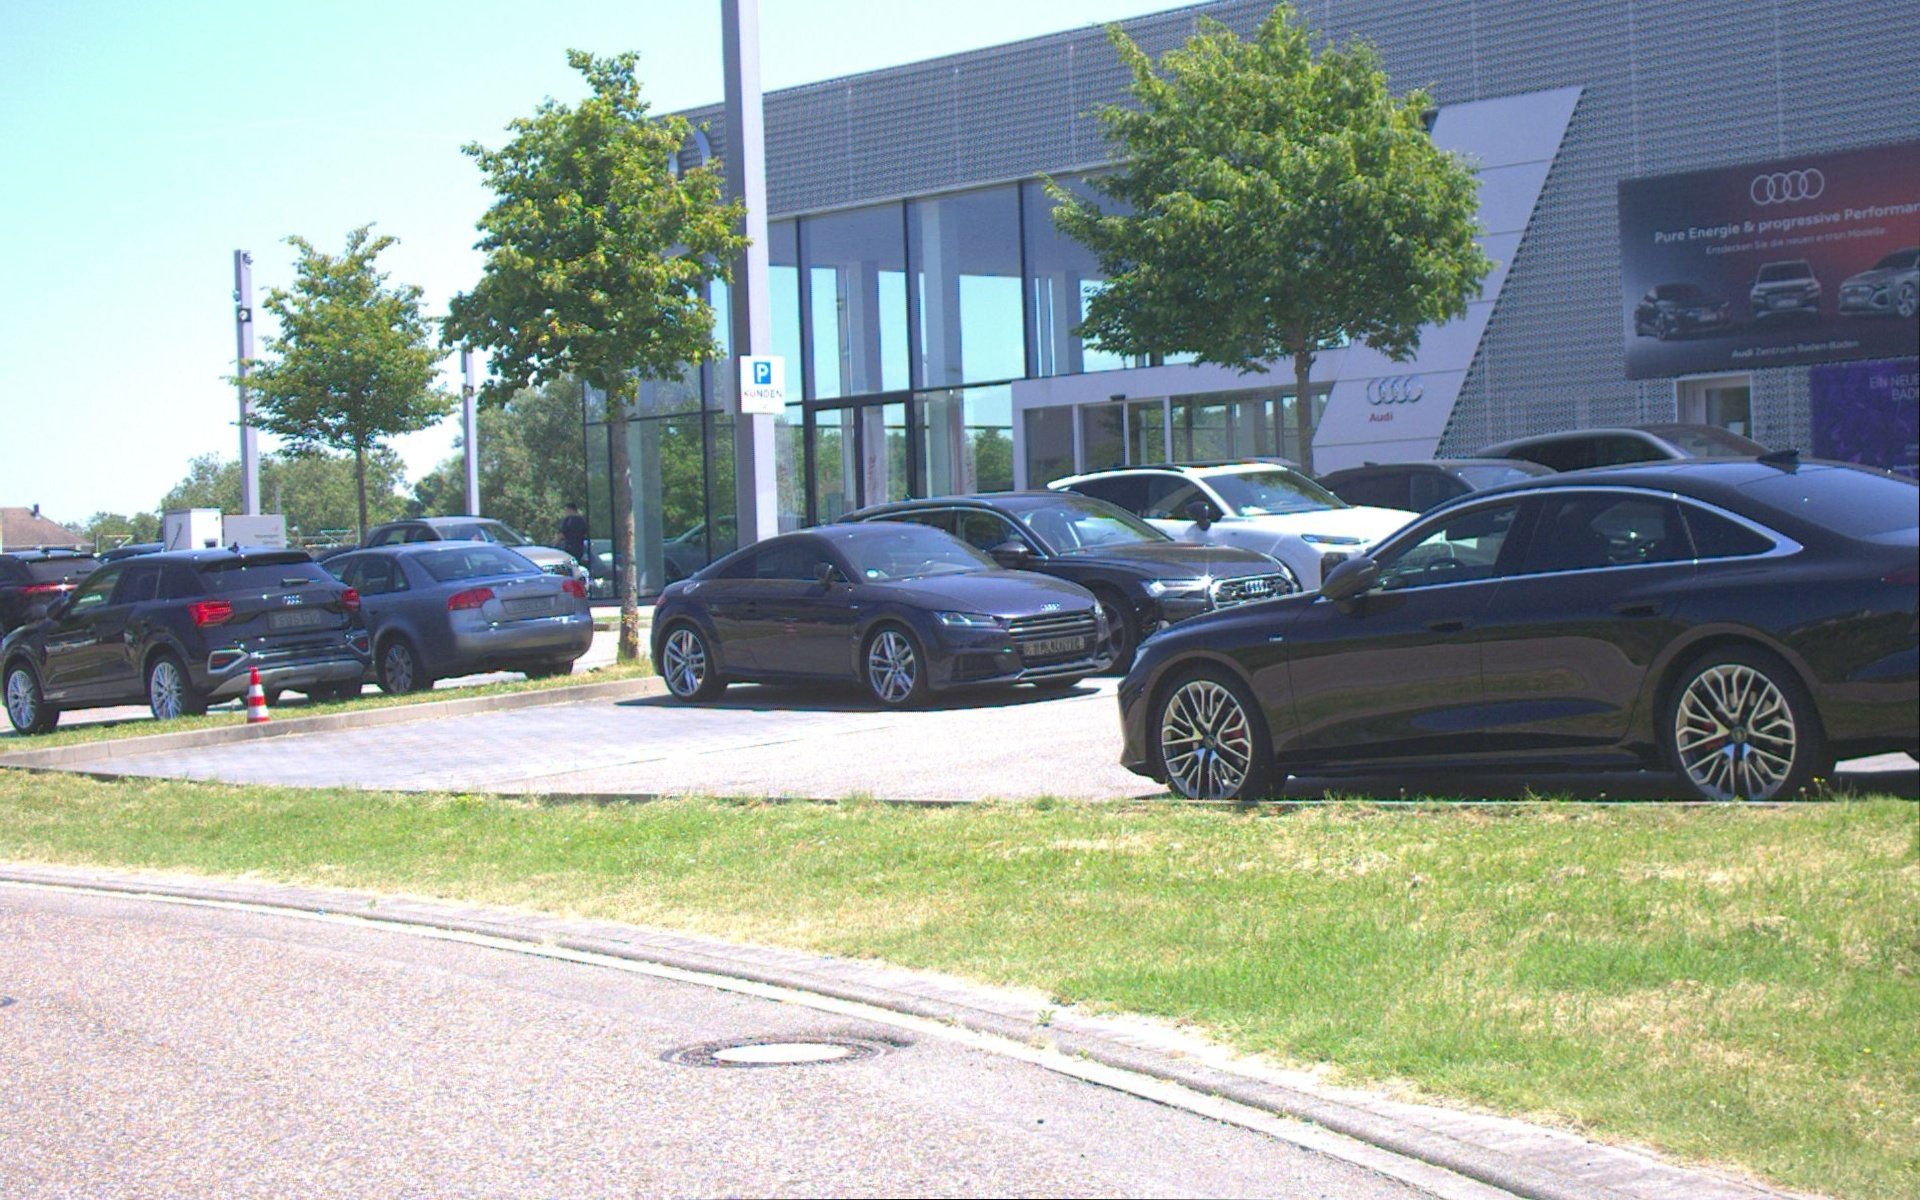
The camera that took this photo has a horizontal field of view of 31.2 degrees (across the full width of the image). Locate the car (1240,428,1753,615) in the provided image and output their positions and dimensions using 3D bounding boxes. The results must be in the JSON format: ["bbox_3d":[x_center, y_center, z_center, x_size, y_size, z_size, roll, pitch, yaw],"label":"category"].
[{"bbox_3d":[4.956,-0.709,32.157,1.963,1.471,4.369,-6,2,-44],"label":"car"}]

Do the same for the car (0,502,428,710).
[{"bbox_3d":[-6.765,0.079,30.345,1.889,1.566,4.225,-7,4,-43],"label":"car"}]

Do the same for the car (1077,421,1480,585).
[{"bbox_3d":[3.638,-1.101,39.918,1.962,1.586,4.425,-7,3,-41],"label":"car"}]

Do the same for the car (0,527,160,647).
[{"bbox_3d":[-13.483,-0.084,48.546,1.962,1.451,4.983,-5,0,-43],"label":"car"}]

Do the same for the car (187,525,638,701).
[{"bbox_3d":[-5.119,0.141,31.784,1.963,1.361,4.225,-7,4,-43],"label":"car"}]

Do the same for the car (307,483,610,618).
[{"bbox_3d":[-7.652,-0.729,52.104,1.962,1.615,4.983,-5,0,-43],"label":"car"}]

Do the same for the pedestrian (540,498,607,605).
[{"bbox_3d":[-6.612,-0.824,58.826,0.771,1.770,0.745,-4,1,-38],"label":"pedestrian"}]

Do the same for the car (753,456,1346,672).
[{"bbox_3d":[0.661,-0.269,29.099,1.963,1.547,5.002,-6,2,-44],"label":"car"}]

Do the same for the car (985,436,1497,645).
[{"bbox_3d":[2.468,-0.507,30.963,1.963,1.607,4.286,-6,2,-44],"label":"car"}]

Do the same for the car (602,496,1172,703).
[{"bbox_3d":[-0.642,0.025,26.735,1.963,1.370,4.309,-6,2,-44],"label":"car"}]

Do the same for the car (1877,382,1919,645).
[{"bbox_3d":[8.116,-0.632,20.544,1.825,1.637,4.783,-3,1,-44],"label":"car"}]

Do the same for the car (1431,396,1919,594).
[{"bbox_3d":[7.401,-1.054,35.540,1.963,1.733,4.726,-6,2,-44],"label":"car"}]

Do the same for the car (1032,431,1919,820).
[{"bbox_3d":[2.801,0.083,15.279,1.881,1.449,5.020,-6,3,-43],"label":"car"}]
